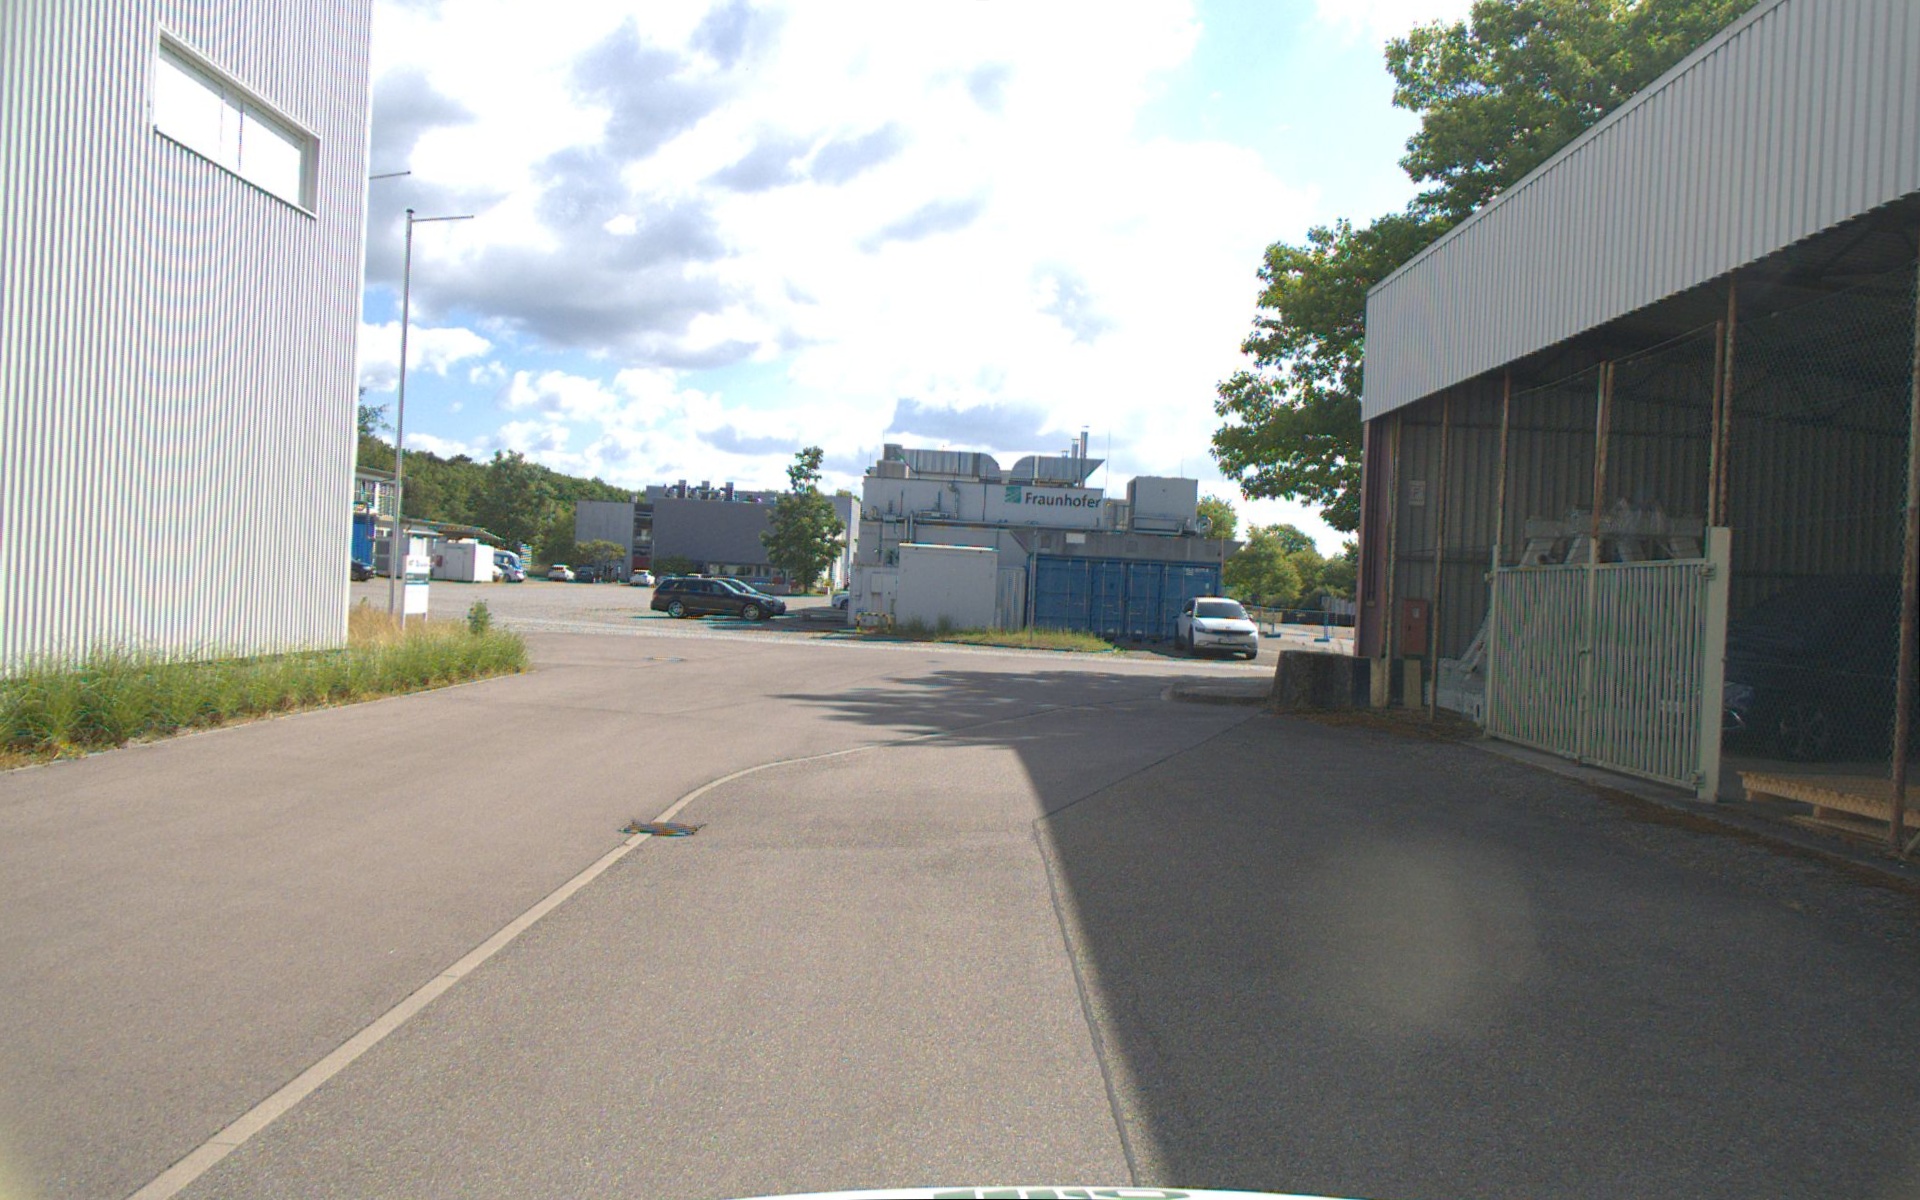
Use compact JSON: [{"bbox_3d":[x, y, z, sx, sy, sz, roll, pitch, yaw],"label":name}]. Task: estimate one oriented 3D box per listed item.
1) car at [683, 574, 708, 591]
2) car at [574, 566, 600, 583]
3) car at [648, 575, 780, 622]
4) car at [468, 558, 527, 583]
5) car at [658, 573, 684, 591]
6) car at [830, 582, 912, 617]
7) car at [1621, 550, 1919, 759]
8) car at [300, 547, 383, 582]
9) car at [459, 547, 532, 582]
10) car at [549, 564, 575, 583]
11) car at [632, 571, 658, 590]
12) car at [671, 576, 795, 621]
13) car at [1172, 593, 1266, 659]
[{"bbox_3d":[-25.128,-1.666,157.269,1.840,1.564,4.034,1,0,-2],"label":"car"},{"bbox_3d":[-35.366,-2.425,156.883,1.841,1.564,4.031,1,0,-5],"label":"car"},{"bbox_3d":[-8.926,-0.044,60.357,4.437,1.468,1.987,3,-1,0],"label":"car"},{"bbox_3d":[-36.497,-2.320,130.535,4.024,1.659,1.808,3,0,4],"label":"car"},{"bbox_3d":[-27.408,-1.710,157.032,1.840,1.564,4.034,1,0,-2],"label":"car"},{"bbox_3d":[-4.739,-0.025,88.132,4.192,1.596,1.987,3,-1,0],"label":"car"},{"bbox_3d":[9.972,0.607,17.424,5.065,1.952,2.276,3,0,-6],"label":"car"},{"bbox_3d":[-36.288,-2.086,97.097,4.079,1.694,1.783,5,0,-2],"label":"car"},{"bbox_3d":[-37.439,-2.837,133.470,5.148,2.484,2.050,3,0,4],"label":"car"},{"bbox_3d":[-37.769,-2.539,156.985,1.810,1.697,4.129,1,0,-5],"label":"car"},{"bbox_3d":[-29.922,-1.837,157.166,1.840,1.719,4.034,1,0,-2],"label":"car"},{"bbox_3d":[-8.697,-0.051,63.617,4.437,1.468,1.904,3,-1,0],"label":"car"},{"bbox_3d":[7.426,0.706,47.870,1.941,1.621,4.341,3,1,0],"label":"car"}]
